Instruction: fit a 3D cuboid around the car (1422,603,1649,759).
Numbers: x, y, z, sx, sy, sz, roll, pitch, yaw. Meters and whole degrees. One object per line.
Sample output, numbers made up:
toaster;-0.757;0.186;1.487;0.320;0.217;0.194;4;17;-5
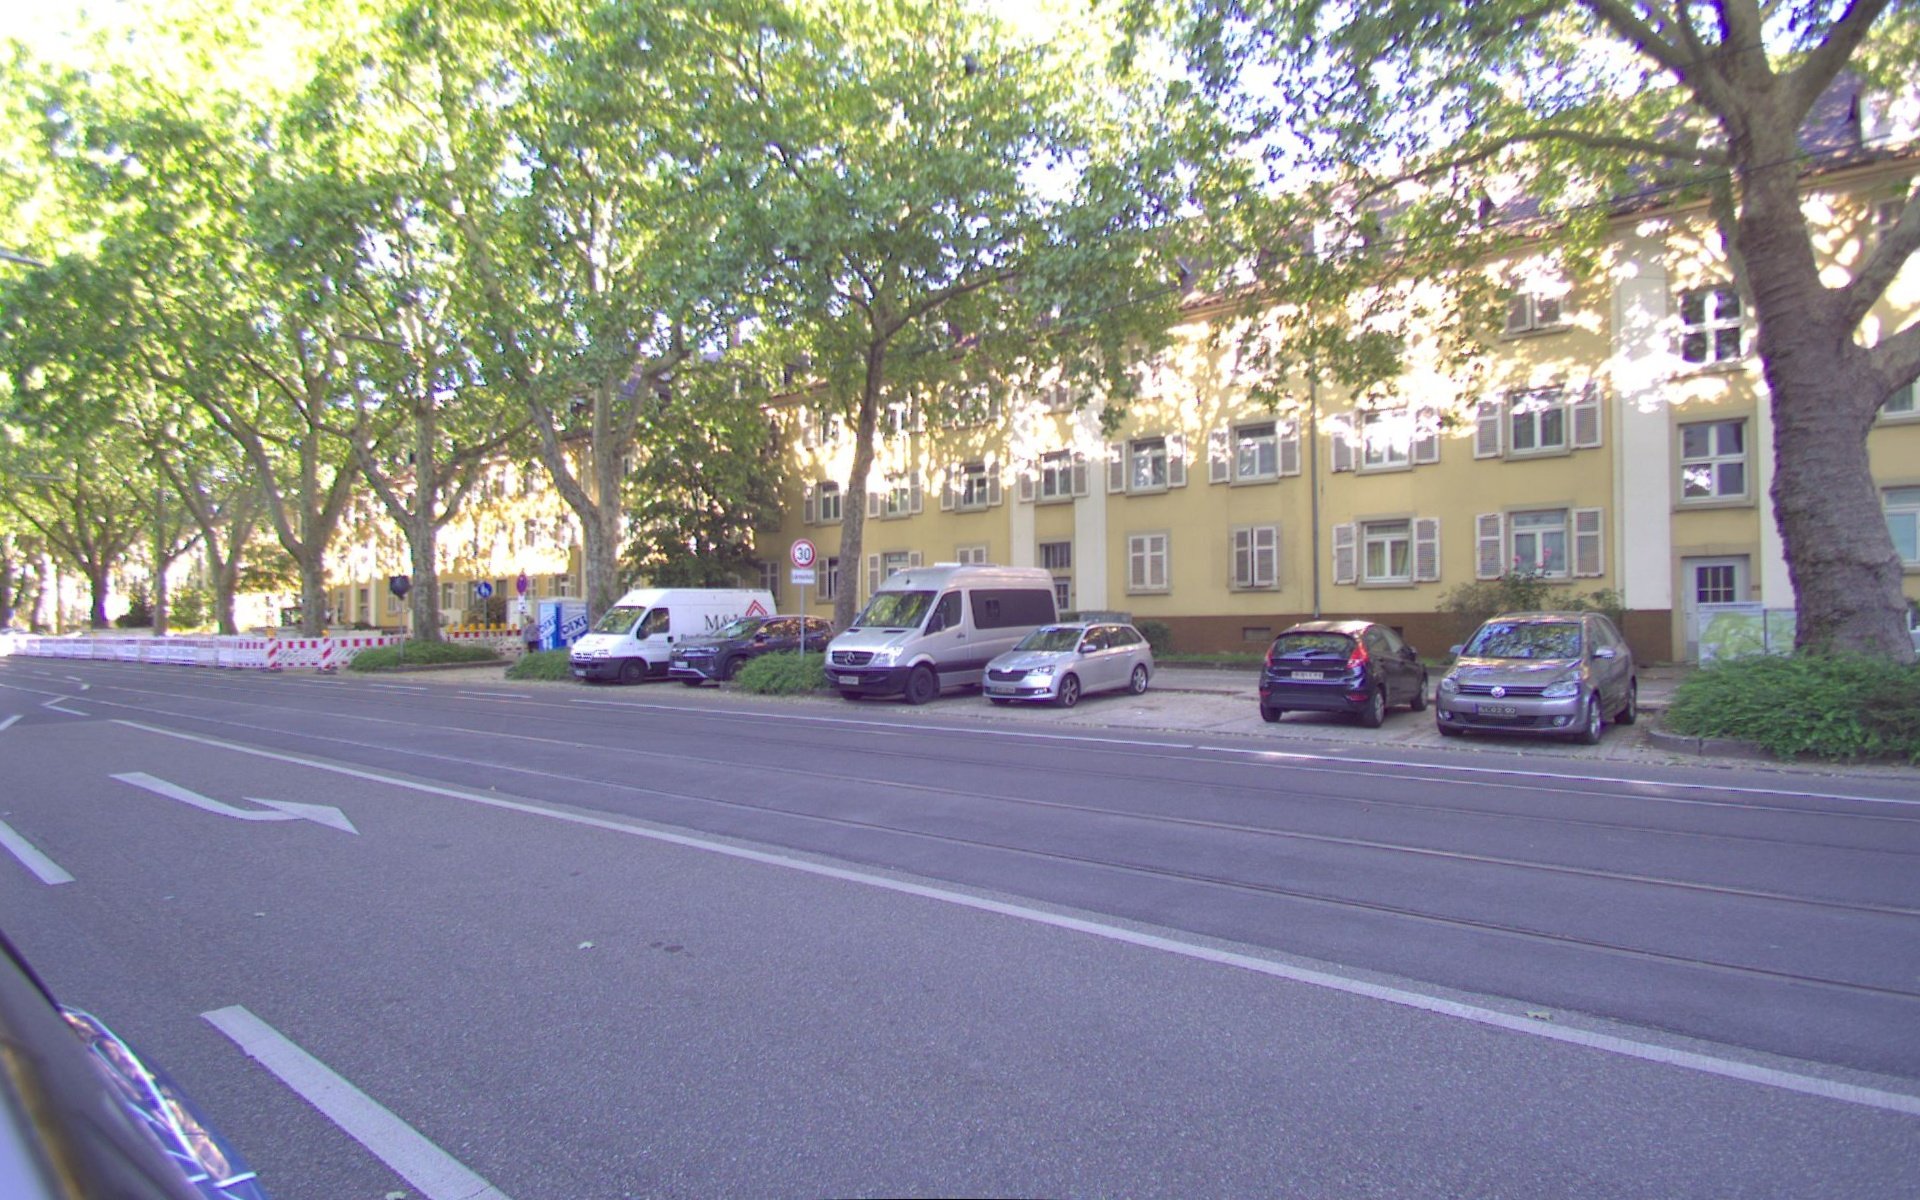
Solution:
car;7.734;0.927;13.412;1.814;1.617;4.145;-2;0;41

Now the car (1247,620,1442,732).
car;5.903;1.048;15.326;1.740;1.440;3.528;-2;-1;39

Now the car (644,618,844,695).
car;-5.094;1.275;24.364;1.967;1.643;4.520;-2;-2;38

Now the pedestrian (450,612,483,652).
pedestrian;-25.610;1.671;52.502;1.233;2.029;1.085;-2;-2;36

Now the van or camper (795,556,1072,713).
van or camper;-0.319;0.613;20.488;2.227;2.697;6.052;-2;-1;38

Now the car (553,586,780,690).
car;-7.448;0.948;26.283;2.023;2.394;5.543;-2;-2;38

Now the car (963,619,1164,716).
car;2.034;1.158;18.903;1.729;1.481;4.102;0;1;40

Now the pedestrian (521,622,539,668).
pedestrian;-15.156;1.570;35.686;0.586;1.585;0.720;0;-2;-23
